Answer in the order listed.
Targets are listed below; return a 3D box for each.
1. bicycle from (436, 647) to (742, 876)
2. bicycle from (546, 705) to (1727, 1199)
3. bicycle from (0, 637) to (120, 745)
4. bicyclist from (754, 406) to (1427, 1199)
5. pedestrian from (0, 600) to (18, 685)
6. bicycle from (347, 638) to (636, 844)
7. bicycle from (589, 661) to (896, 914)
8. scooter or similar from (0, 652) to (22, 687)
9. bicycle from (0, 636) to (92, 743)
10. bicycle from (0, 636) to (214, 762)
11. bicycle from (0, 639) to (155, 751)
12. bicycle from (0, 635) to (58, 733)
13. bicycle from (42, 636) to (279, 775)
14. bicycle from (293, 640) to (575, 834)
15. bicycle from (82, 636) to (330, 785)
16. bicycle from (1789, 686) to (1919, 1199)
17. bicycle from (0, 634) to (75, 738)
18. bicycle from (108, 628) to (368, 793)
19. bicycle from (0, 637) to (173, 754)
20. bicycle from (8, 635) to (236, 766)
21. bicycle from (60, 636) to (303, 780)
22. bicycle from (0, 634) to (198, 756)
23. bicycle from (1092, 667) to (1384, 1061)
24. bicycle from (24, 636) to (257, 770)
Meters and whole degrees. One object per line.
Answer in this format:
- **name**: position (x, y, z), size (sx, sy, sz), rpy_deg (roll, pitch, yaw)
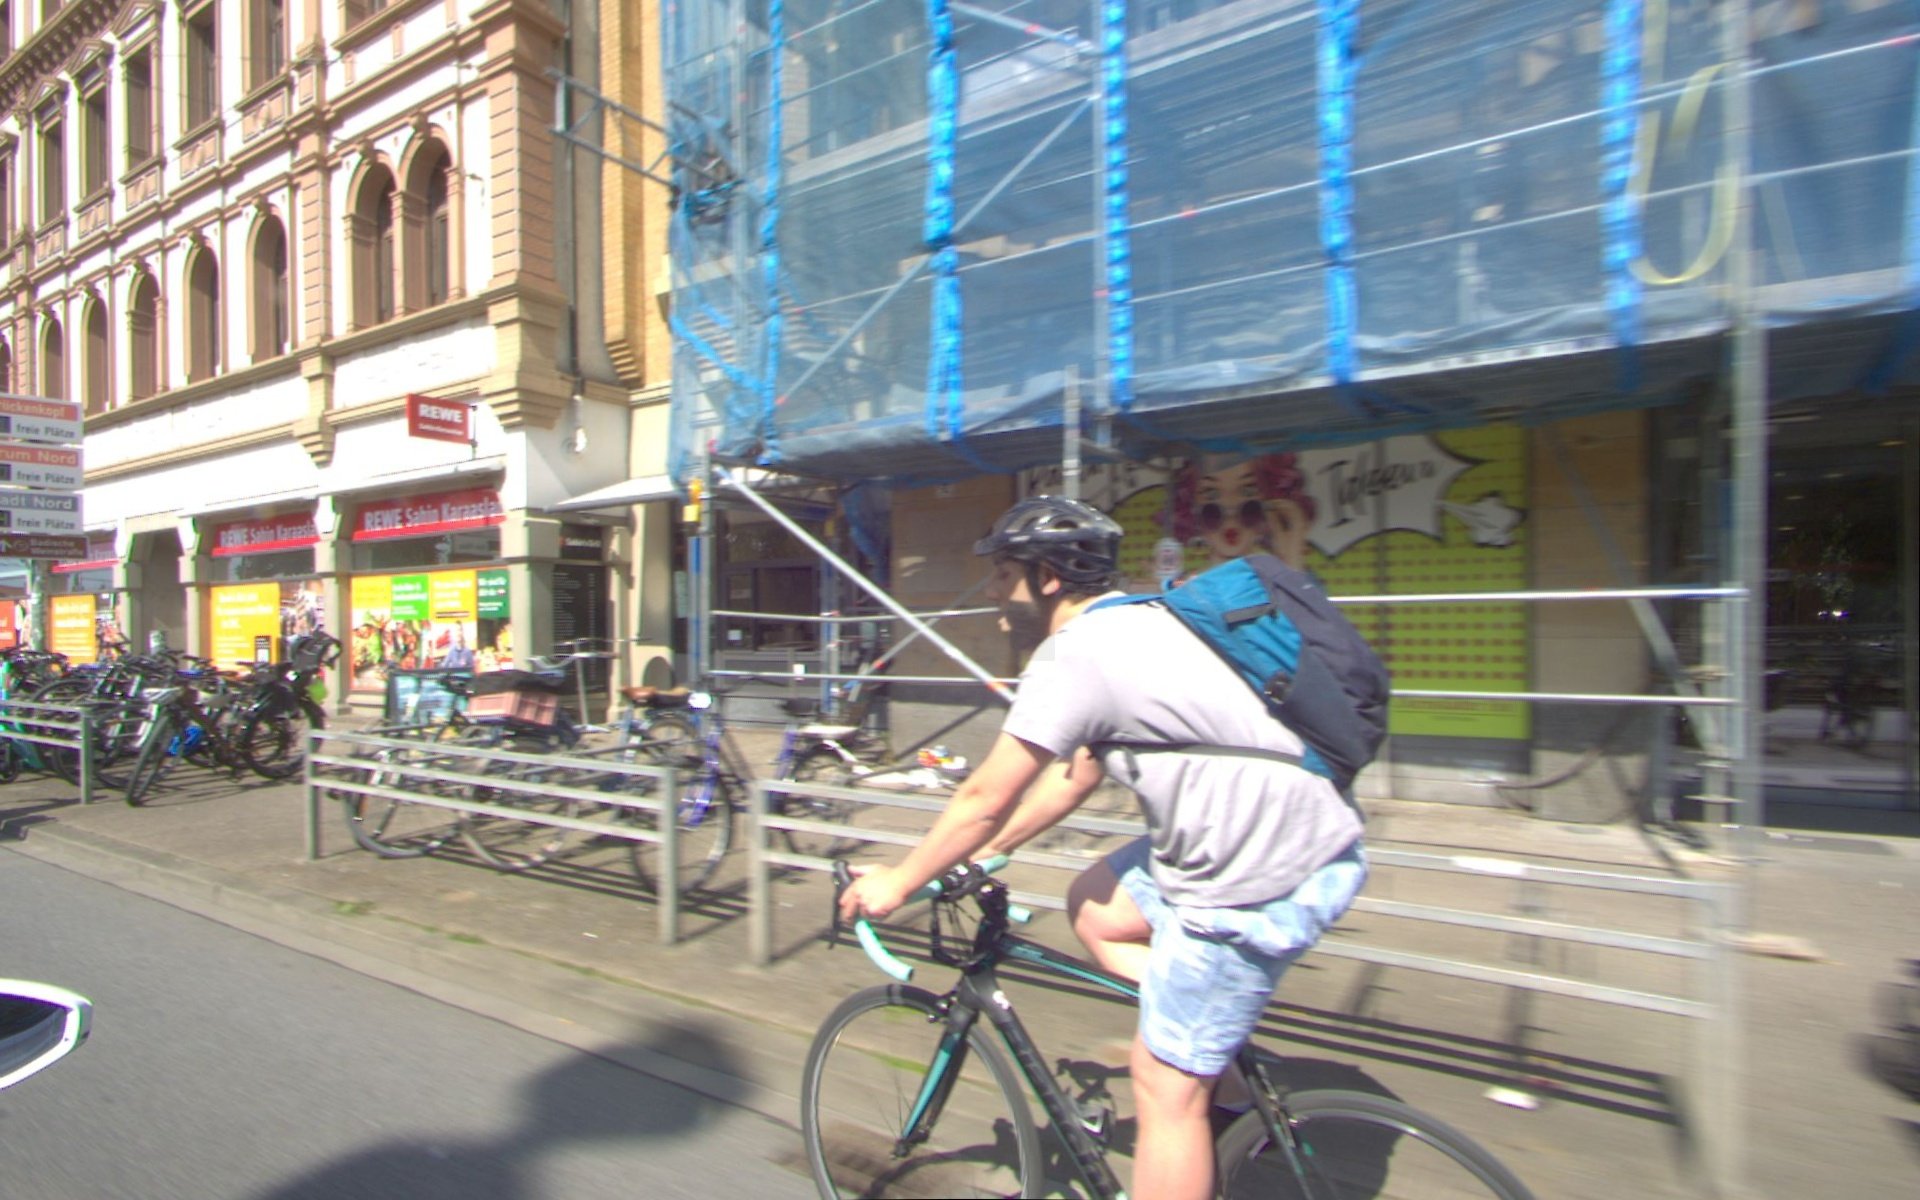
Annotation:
- **bicycle**: position (-2.196, 0.891, 6.175), size (0.600, 1.193, 1.768), rpy_deg (-1, -2, 33)
- **bicycle**: position (0.167, 0.810, 2.004), size (2.100, 1.106, 0.733), rpy_deg (-2, -3, 31)
- **bicycle**: position (-10.665, 1.020, 11.352), size (0.463, 1.193, 1.690), rpy_deg (-1, -2, 32)
- **bicyclist**: position (0.258, 0.499, 1.971), size (1.126, 1.481, 0.687), rpy_deg (-1, -3, 31)
- **pedestrian**: position (-19.445, 0.873, 19.904), size (0.825, 1.678, 0.754), rpy_deg (-2, 2, 32)
- **bicycle**: position (-3.050, 0.856, 6.690), size (0.600, 1.193, 1.690), rpy_deg (-1, -2, 33)
- **bicycle**: position (-1.088, 0.897, 5.391), size (0.600, 1.101, 1.690), rpy_deg (-1, -2, 33)
- **scooter or similar**: position (-18.918, 1.373, 19.580), size (0.557, 0.659, 0.689), rpy_deg (-2, 2, 31)
- **bicycle**: position (-11.223, 1.040, 11.570), size (0.600, 1.194, 1.689), rpy_deg (0, 0, 33)
- **bicycle**: position (-8.779, 0.970, 10.313), size (0.506, 1.193, 1.690), rpy_deg (-1, -2, 33)
- **bicycle**: position (-10.154, 1.033, 11.226), size (0.463, 1.193, 1.690), rpy_deg (-1, -2, 32)
- **bicycle**: position (-12.273, 1.049, 12.283), size (0.600, 1.194, 1.690), rpy_deg (0, 0, 33)
- **bicycle**: position (-7.483, 0.939, 9.457), size (0.445, 1.193, 1.690), rpy_deg (-1, -2, 33)
- **bicycle**: position (-3.631, 0.882, 7.069), size (0.600, 1.193, 1.690), rpy_deg (-1, -2, 33)
- **bicycle**: position (-6.617, 0.922, 8.887), size (0.490, 1.193, 1.690), rpy_deg (-1, -2, 33)
- **bicycle**: position (2.890, 0.840, 2.842), size (0.600, 1.111, 1.690), rpy_deg (-1, -2, 33)
- **bicycle**: position (-11.759, 1.053, 11.929), size (0.600, 1.194, 1.689), rpy_deg (0, 2, 33)
- **bicycle**: position (-6.070, 0.876, 8.516), size (0.600, 1.256, 1.690), rpy_deg (-1, -2, 33)
- **bicycle**: position (-9.702, 1.009, 10.926), size (0.453, 1.193, 1.690), rpy_deg (-1, -2, 33)
- **bicycle**: position (-8.321, 0.957, 10.023), size (0.451, 1.193, 1.690), rpy_deg (-1, -2, 33)
- **bicycle**: position (-7.060, 0.933, 9.172), size (0.484, 1.193, 1.690), rpy_deg (-1, -2, 33)
- **bicycle**: position (-9.202, 0.969, 10.645), size (0.453, 1.193, 1.690), rpy_deg (-1, -2, 33)
- **bicycle**: position (1.157, 0.842, 3.874), size (0.600, 1.123, 1.736), rpy_deg (-1, -2, 33)
- **bicycle**: position (-7.911, 0.948, 9.747), size (0.457, 1.193, 1.690), rpy_deg (-1, -2, 33)
